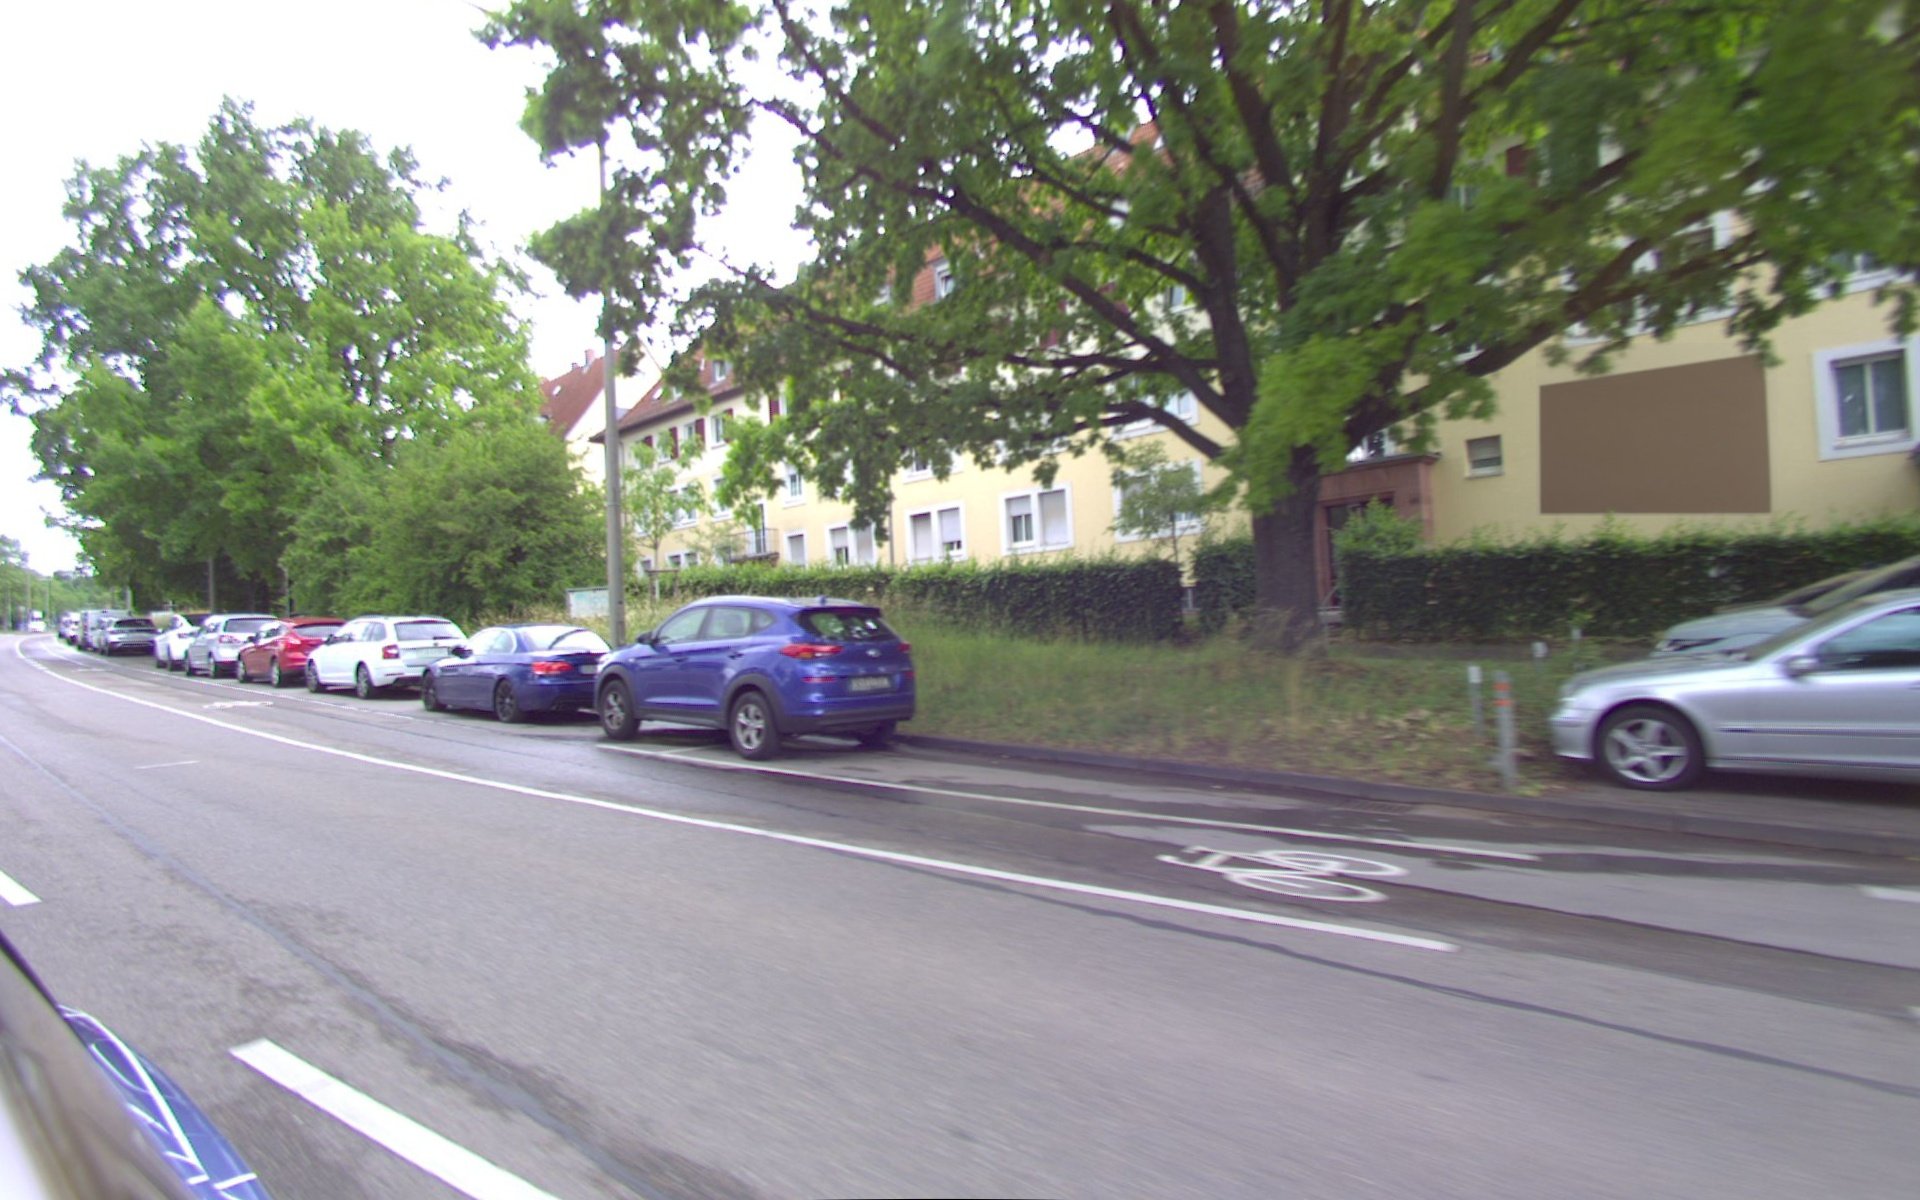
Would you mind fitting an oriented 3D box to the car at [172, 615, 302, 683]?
[{"bbox_3d":[-18.867,1.215,26.347,4.118,1.585,1.849,-1,0,41],"label":"car"}]

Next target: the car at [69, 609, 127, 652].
[{"bbox_3d":[-42.122,1.462,49.401,1.844,1.978,5.130,0,-1,-44],"label":"car"}]

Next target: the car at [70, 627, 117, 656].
[{"bbox_3d":[-47.981,2.271,56.021,4.092,1.490,1.643,-2,-1,45],"label":"car"}]

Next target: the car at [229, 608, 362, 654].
[{"bbox_3d":[-28.522,1.300,43.558,1.868,1.461,4.387,-2,4,41],"label":"car"}]

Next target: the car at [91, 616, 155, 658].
[{"bbox_3d":[-34.665,1.513,41.892,1.746,1.646,4.161,0,-1,-44],"label":"car"}]

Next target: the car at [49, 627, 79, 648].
[{"bbox_3d":[-71.640,2.988,80.914,1.747,1.604,4.139,-1,-1,-43],"label":"car"}]

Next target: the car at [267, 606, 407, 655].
[{"bbox_3d":[-24.667,1.162,40.151,4.380,1.465,1.889,-7,3,-42],"label":"car"}]

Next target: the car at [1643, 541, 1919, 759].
[{"bbox_3d":[8.112,0.344,8.234,3.999,1.645,1.743,-2,2,42],"label":"car"}]

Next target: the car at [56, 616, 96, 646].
[{"bbox_3d":[-59.751,2.108,68.375,1.747,1.945,5.159,-2,-1,-43],"label":"car"}]

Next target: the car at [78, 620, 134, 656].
[{"bbox_3d":[-38.344,1.693,45.394,3.721,1.493,1.563,-2,-1,44],"label":"car"}]

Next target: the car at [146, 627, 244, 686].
[{"bbox_3d":[-22.891,1.624,30.214,1.747,1.585,4.762,0,-1,-45],"label":"car"}]

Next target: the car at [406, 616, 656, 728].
[{"bbox_3d":[-6.460,0.972,15.013,4.336,1.400,1.697,-2,-1,41],"label":"car"}]

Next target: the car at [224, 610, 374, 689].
[{"bbox_3d":[-14.861,1.051,22.664,4.369,1.585,1.697,-1,0,41],"label":"car"}]

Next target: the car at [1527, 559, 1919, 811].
[{"bbox_3d":[6.504,0.500,6.809,4.391,1.547,1.743,-2,0,42],"label":"car"}]

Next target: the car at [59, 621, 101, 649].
[{"bbox_3d":[-51.880,2.047,59.649,1.653,1.576,4.285,0,-1,-44],"label":"car"}]

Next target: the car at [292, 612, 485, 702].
[{"bbox_3d":[-10.950,1.011,19.240,4.754,1.470,1.697,-1,0,41],"label":"car"}]

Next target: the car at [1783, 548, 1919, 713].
[{"bbox_3d":[10.376,0.220,9.203,4.437,1.481,1.744,-2,2,40],"label":"car"}]

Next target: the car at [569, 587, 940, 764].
[{"bbox_3d":[-2.490,0.784,11.481,4.532,1.625,1.697,-3,-1,41],"label":"car"}]
